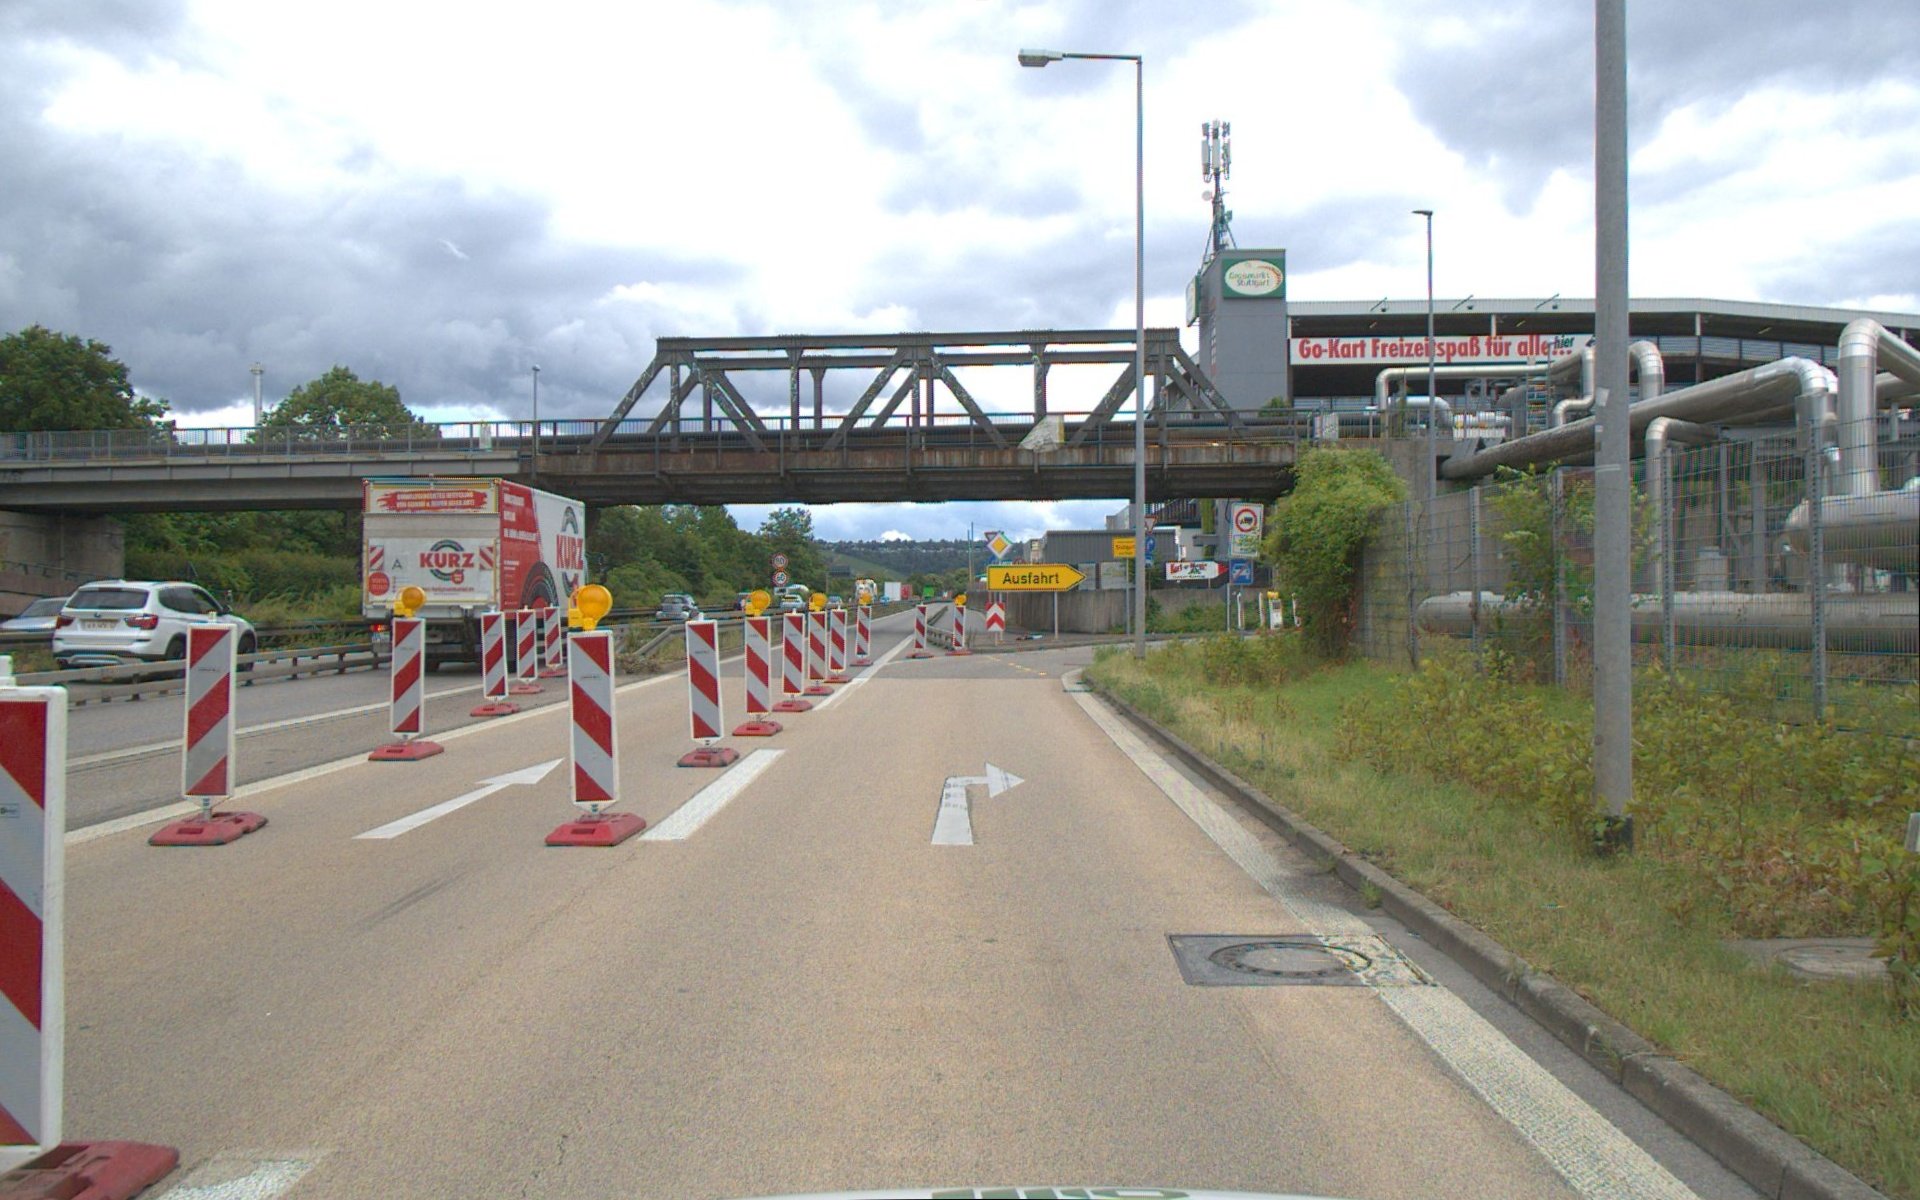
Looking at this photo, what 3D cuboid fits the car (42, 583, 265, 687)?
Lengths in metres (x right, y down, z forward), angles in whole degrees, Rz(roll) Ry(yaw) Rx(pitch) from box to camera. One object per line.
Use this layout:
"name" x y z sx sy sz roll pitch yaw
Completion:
"car" -13.890 0.576 28.776 1.816 1.669 4.290 0 0 -1

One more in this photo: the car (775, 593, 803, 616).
"car" -13.660 0.364 132.377 1.953 1.847 3.999 0 0 -1

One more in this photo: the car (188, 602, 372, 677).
"car" -13.981 0.781 34.328 1.933 1.438 4.599 0 0 0

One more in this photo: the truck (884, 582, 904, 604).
"truck" -9.505 -0.989 238.710 2.626 3.195 6.132 1 0 1

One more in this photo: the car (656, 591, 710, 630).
"car" -13.380 0.491 80.047 1.953 1.790 3.999 -1 0 -1

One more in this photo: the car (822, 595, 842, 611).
"car" -13.358 0.272 173.289 1.743 1.624 3.750 0 0 1

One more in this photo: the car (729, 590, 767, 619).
"car" -13.520 0.290 105.794 1.953 1.790 3.999 -1 0 -1

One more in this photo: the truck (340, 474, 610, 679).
"truck" -9.783 -0.471 34.817 2.893 3.693 10.152 0 1 -1

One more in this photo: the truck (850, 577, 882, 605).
"truck" -12.363 -1.196 218.280 3.643 3.709 7.728 0 0 1

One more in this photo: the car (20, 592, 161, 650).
"car" -23.621 0.548 45.096 1.851 1.477 3.978 -1 0 -2
